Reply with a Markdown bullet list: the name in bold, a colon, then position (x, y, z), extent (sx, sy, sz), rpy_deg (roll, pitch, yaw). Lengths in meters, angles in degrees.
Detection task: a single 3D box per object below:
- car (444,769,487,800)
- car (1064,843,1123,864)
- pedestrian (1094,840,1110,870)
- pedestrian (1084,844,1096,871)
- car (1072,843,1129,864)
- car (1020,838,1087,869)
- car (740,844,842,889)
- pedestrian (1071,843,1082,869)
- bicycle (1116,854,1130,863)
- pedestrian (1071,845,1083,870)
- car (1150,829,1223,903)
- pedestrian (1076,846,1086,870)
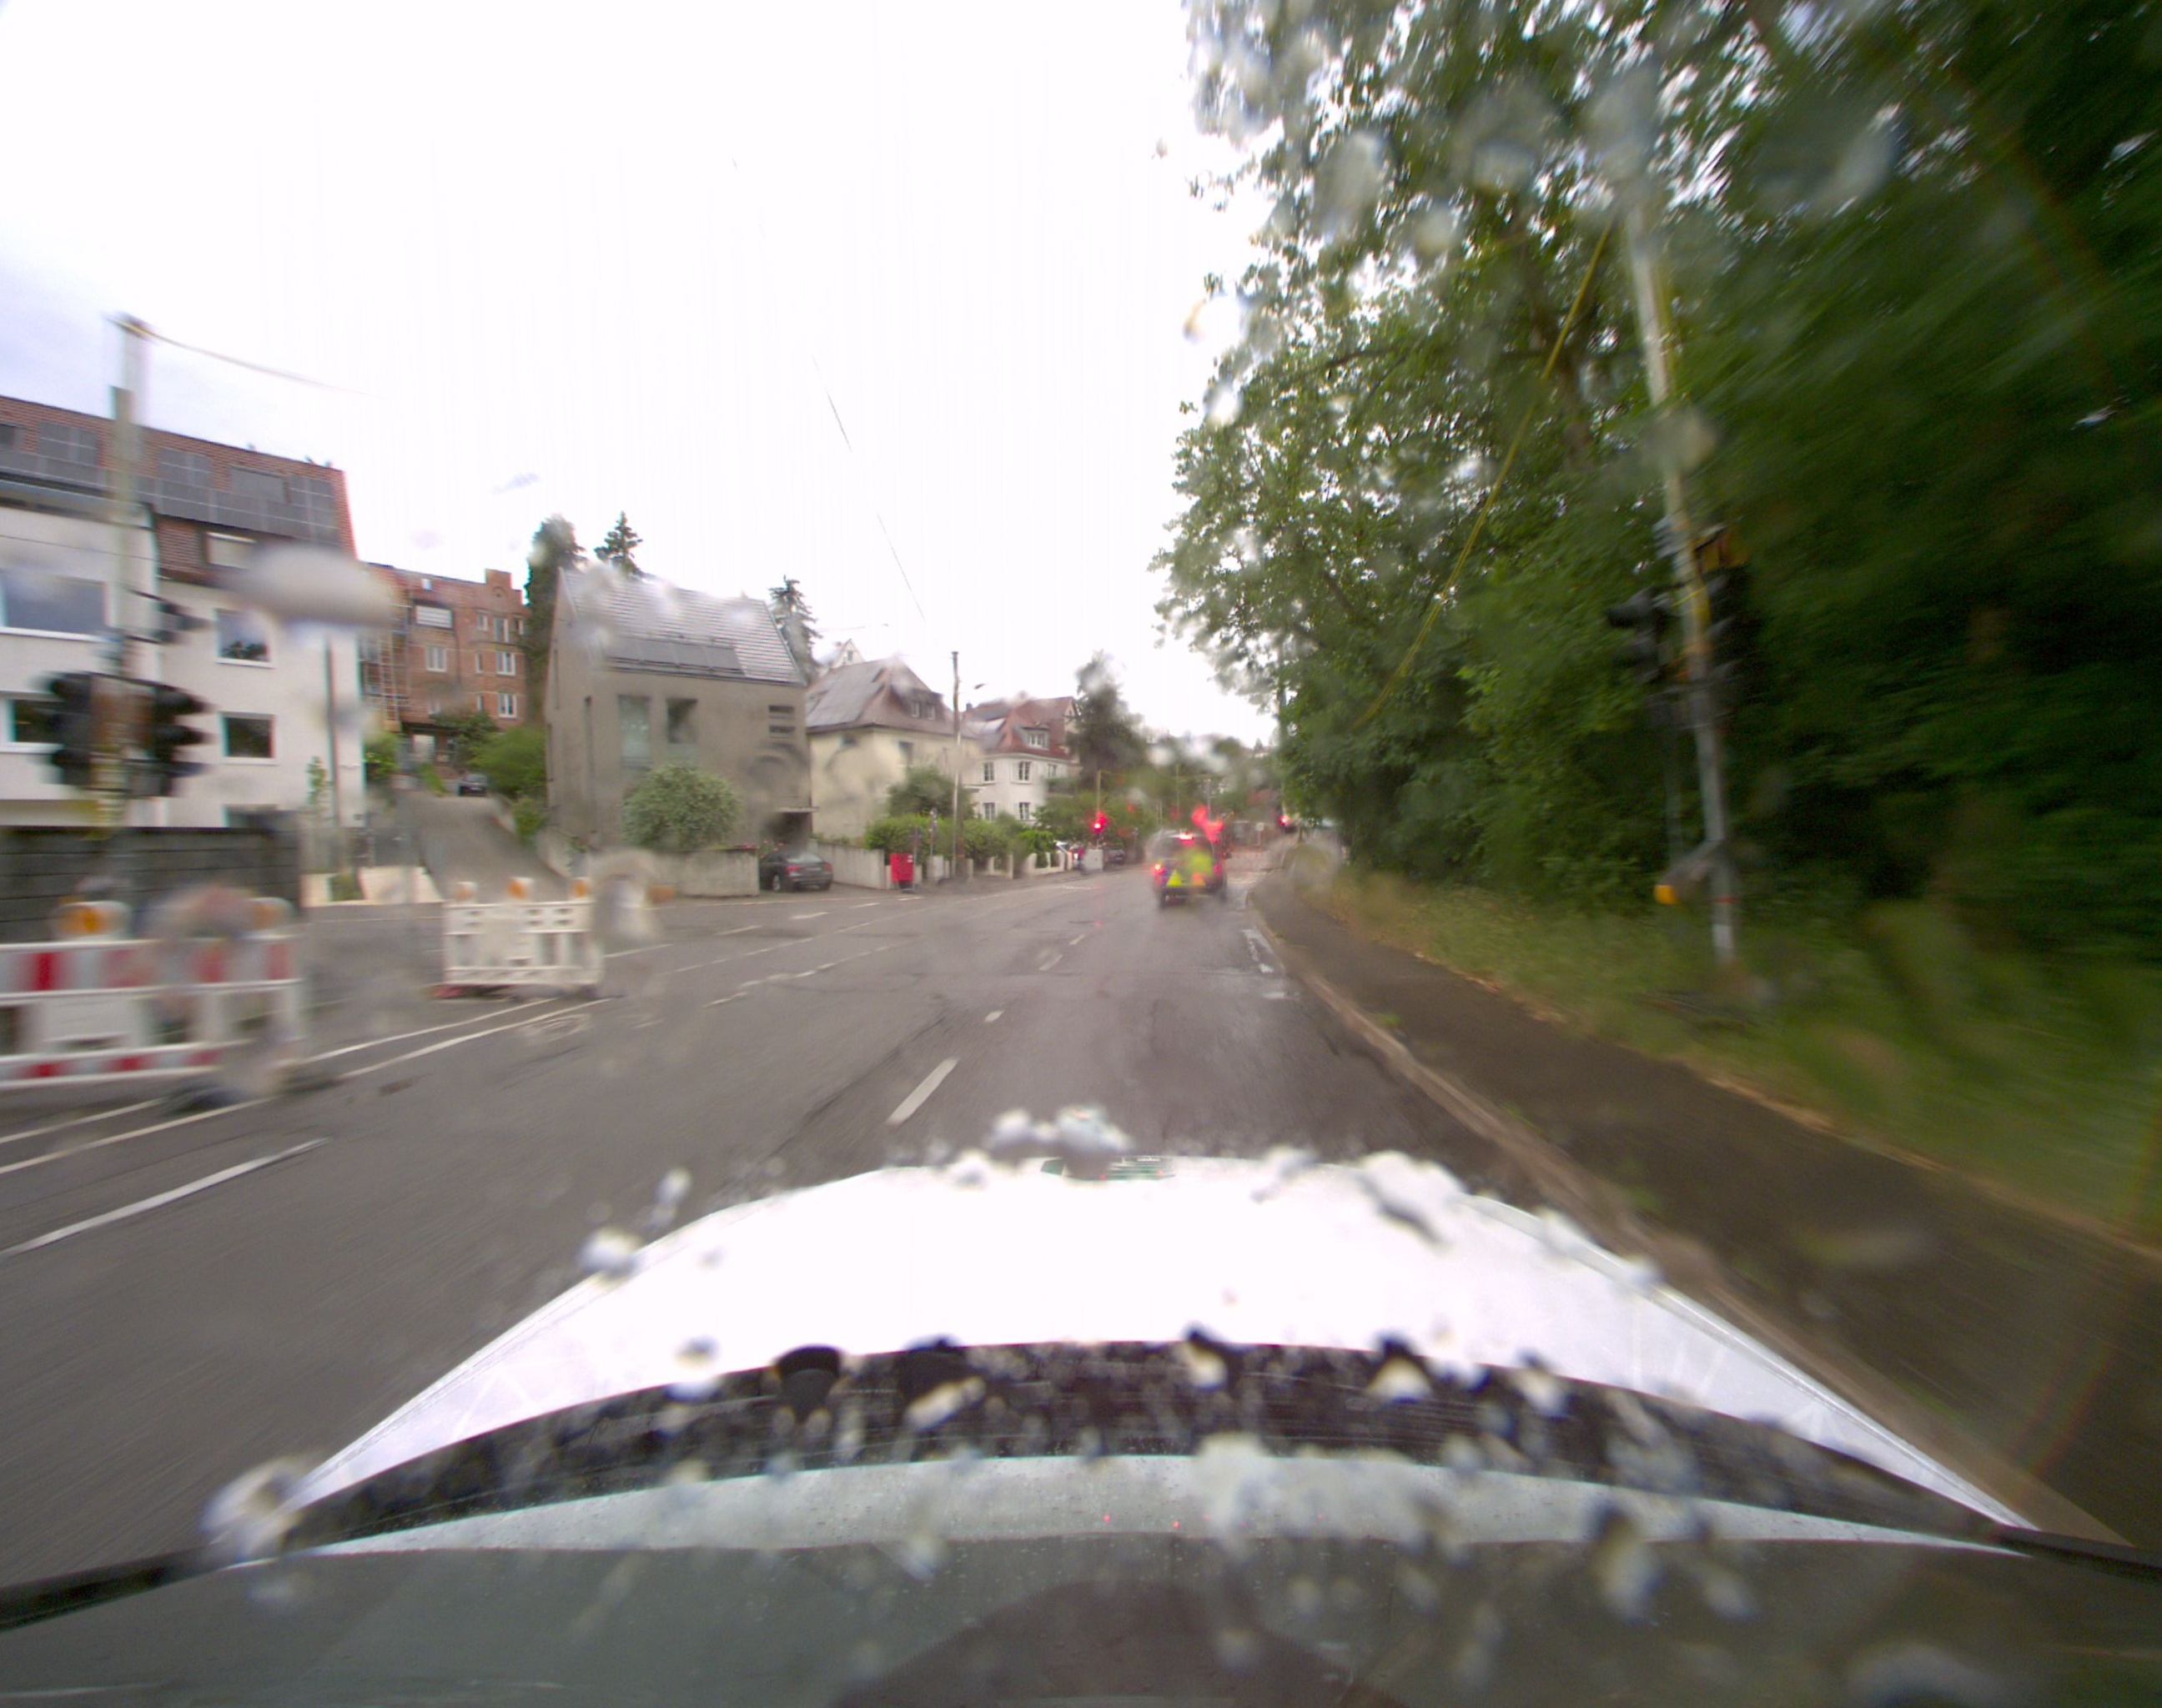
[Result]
- **car**: position (-36.452, -4.087, 48.183), extent (1.791, 1.464, 3.574), rpy_deg (-2, 0, -40)
- **car**: position (0.902, -0.038, 60.263), extent (3.952, 1.486, 1.769), rpy_deg (0, -1, 22)
- **pedestrian**: position (1.305, 0.055, 50.330), extent (0.884, 1.787, 0.831), rpy_deg (1, -2, 10)
- **pedestrian**: position (0.575, 0.211, 51.478), extent (0.622, 1.715, 0.595), rpy_deg (1, -2, 14)
- **car**: position (1.523, -0.028, 62.337), extent (3.952, 1.486, 1.769), rpy_deg (0, -1, 22)
- **car**: position (-1.800, -0.028, 53.188), extent (3.951, 2.013, 1.840), rpy_deg (0, 0, 23)
- **car**: position (-10.266, 0.405, 28.729), extent (3.950, 1.443, 1.850), rpy_deg (0, 1, 45)
- **pedestrian**: position (-0.266, 0.135, 49.609), extent (0.559, 1.582, 0.470), rpy_deg (1, -2, 14)
- **bicycle**: position (3.346, 0.354, 65.063), extent (1.044, 0.662, 0.322), rpy_deg (0, -2, 22)
- **pedestrian**: position (-0.250, 0.231, 50.411), extent (0.622, 1.522, 0.595), rpy_deg (1, -2, 14)
- **car**: position (3.205, 0.269, 24.409), extent (1.982, 2.013, 4.413), rpy_deg (0, 1, 9)
- **pedestrian**: position (-0.017, 0.247, 51.031), extent (0.521, 1.507, 0.431), rpy_deg (1, -2, 14)
